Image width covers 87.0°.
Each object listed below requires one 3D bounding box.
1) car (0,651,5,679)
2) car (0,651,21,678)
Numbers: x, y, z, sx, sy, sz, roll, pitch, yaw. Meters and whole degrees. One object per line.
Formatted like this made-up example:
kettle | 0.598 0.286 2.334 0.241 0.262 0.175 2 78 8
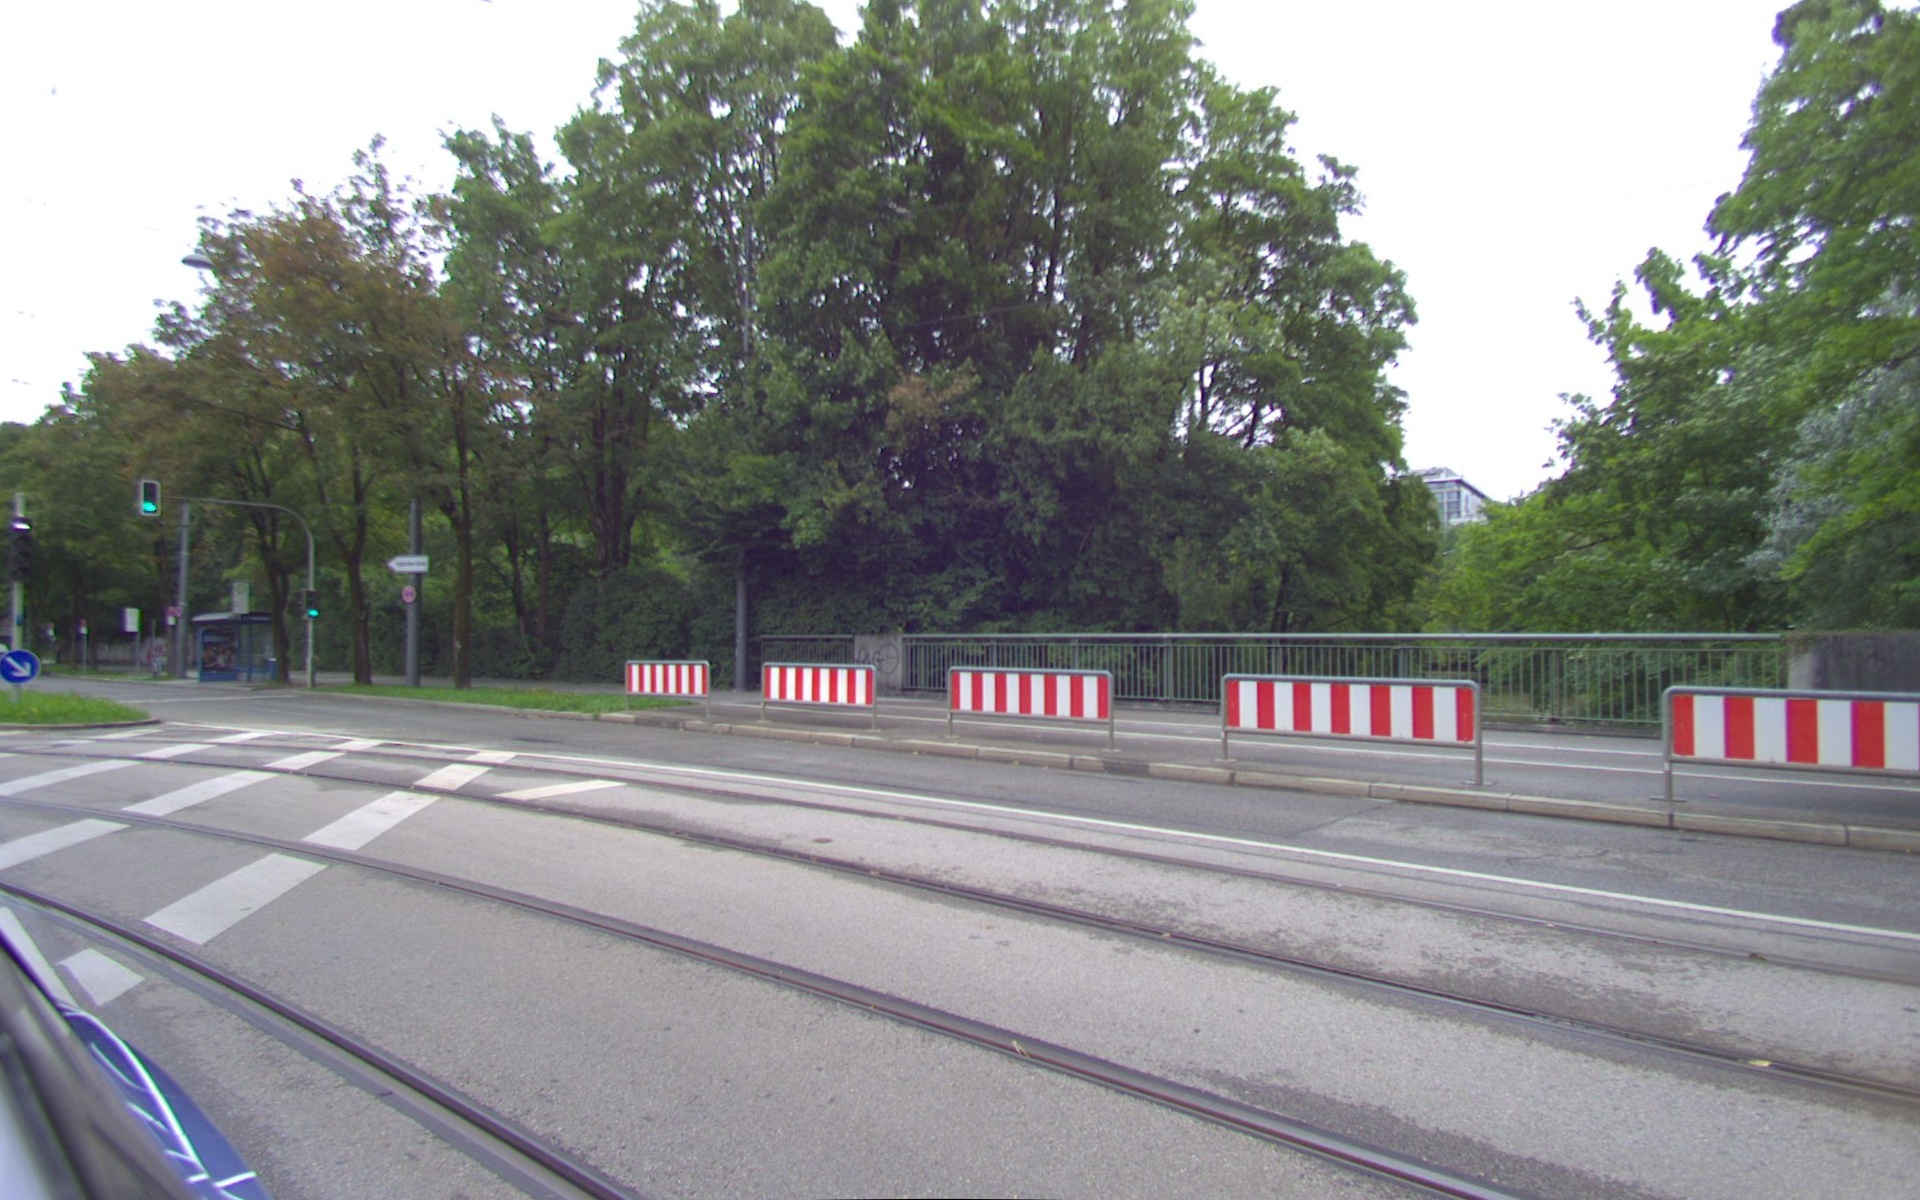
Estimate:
car | -63.809 4.255 65.939 3.996 1.739 1.864 -2 -1 39
car | -59.517 3.986 62.372 3.996 1.552 1.864 -2 -1 39
